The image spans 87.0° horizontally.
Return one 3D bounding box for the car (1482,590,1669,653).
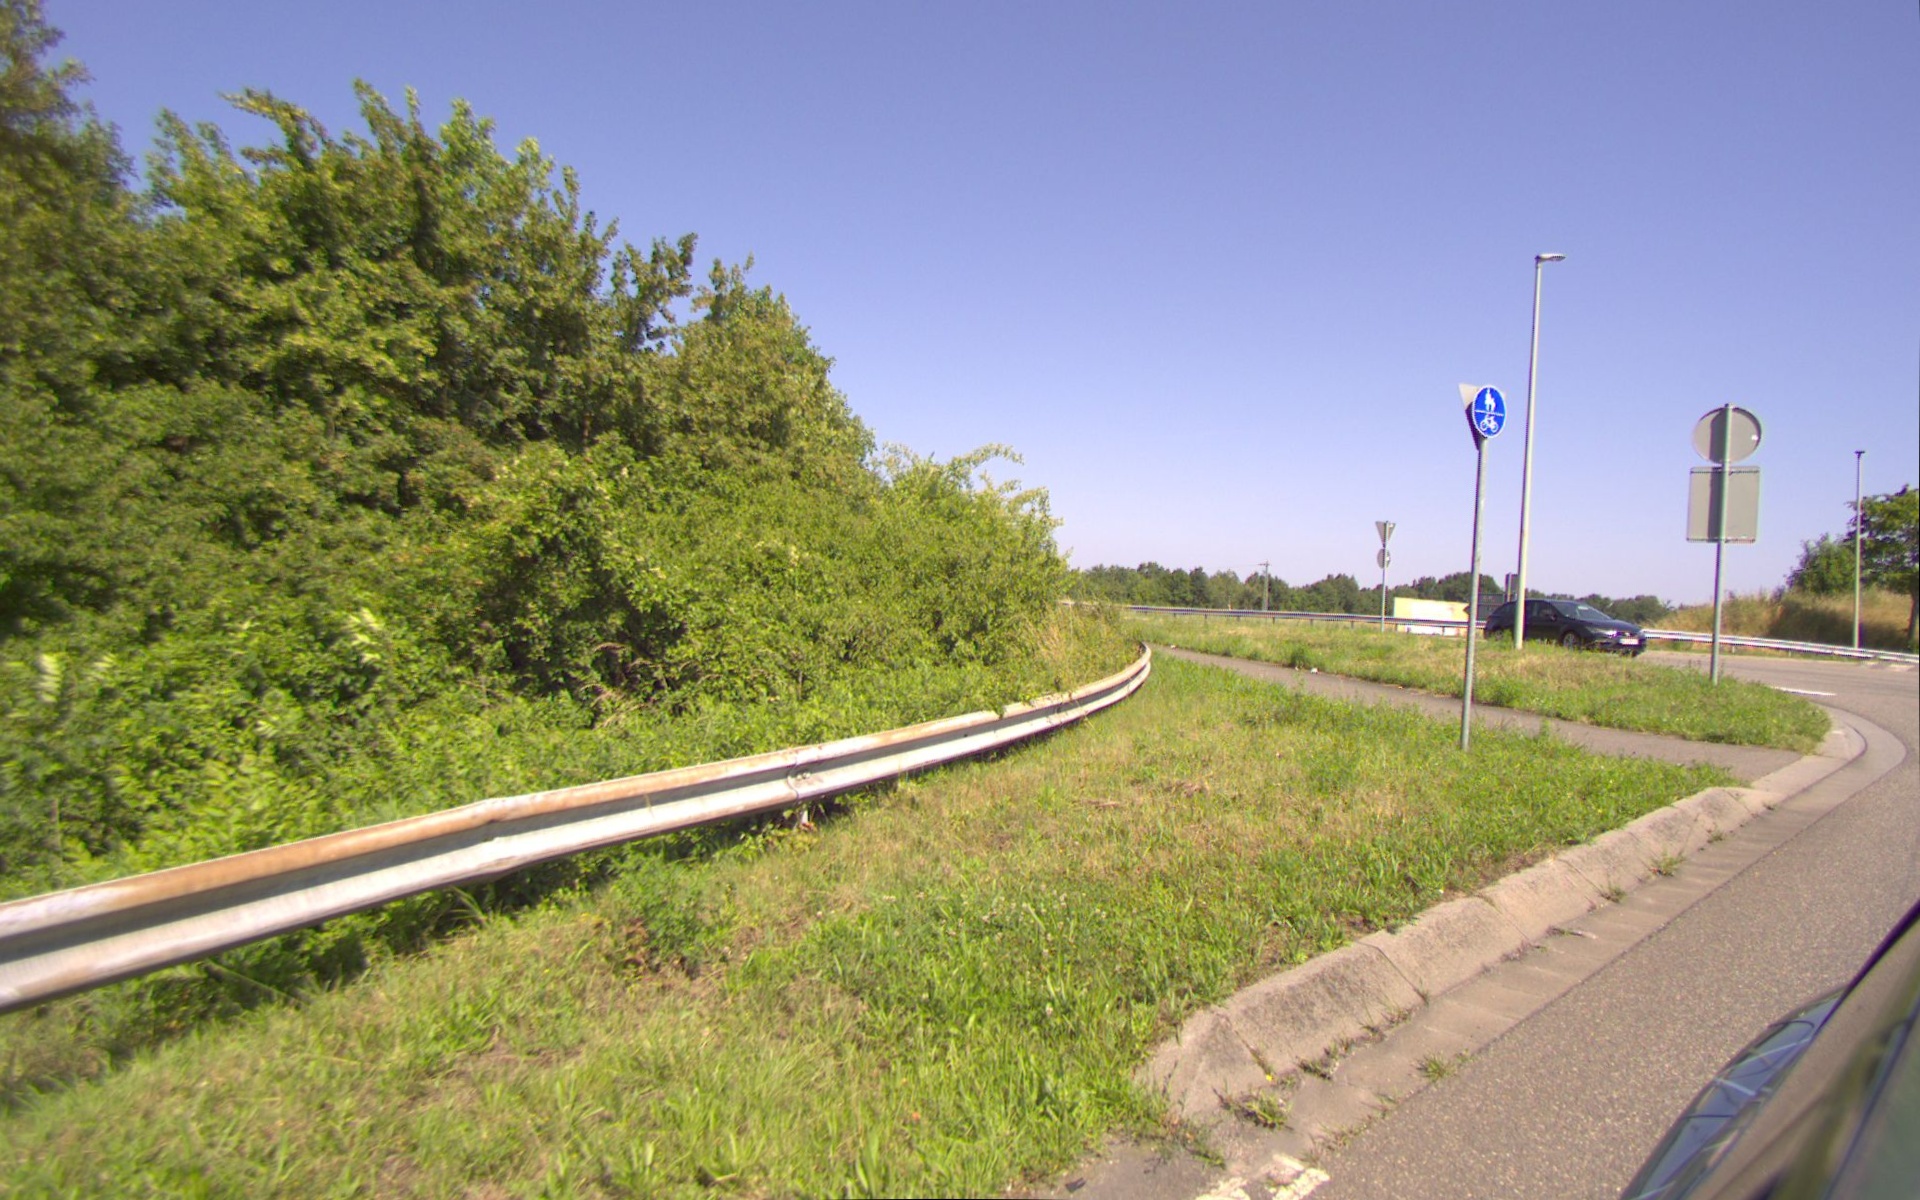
[{"bbox_3d":[15.904,0.495,26.428,1.770,1.415,4.188,2,1,-11],"label":"car"}]
